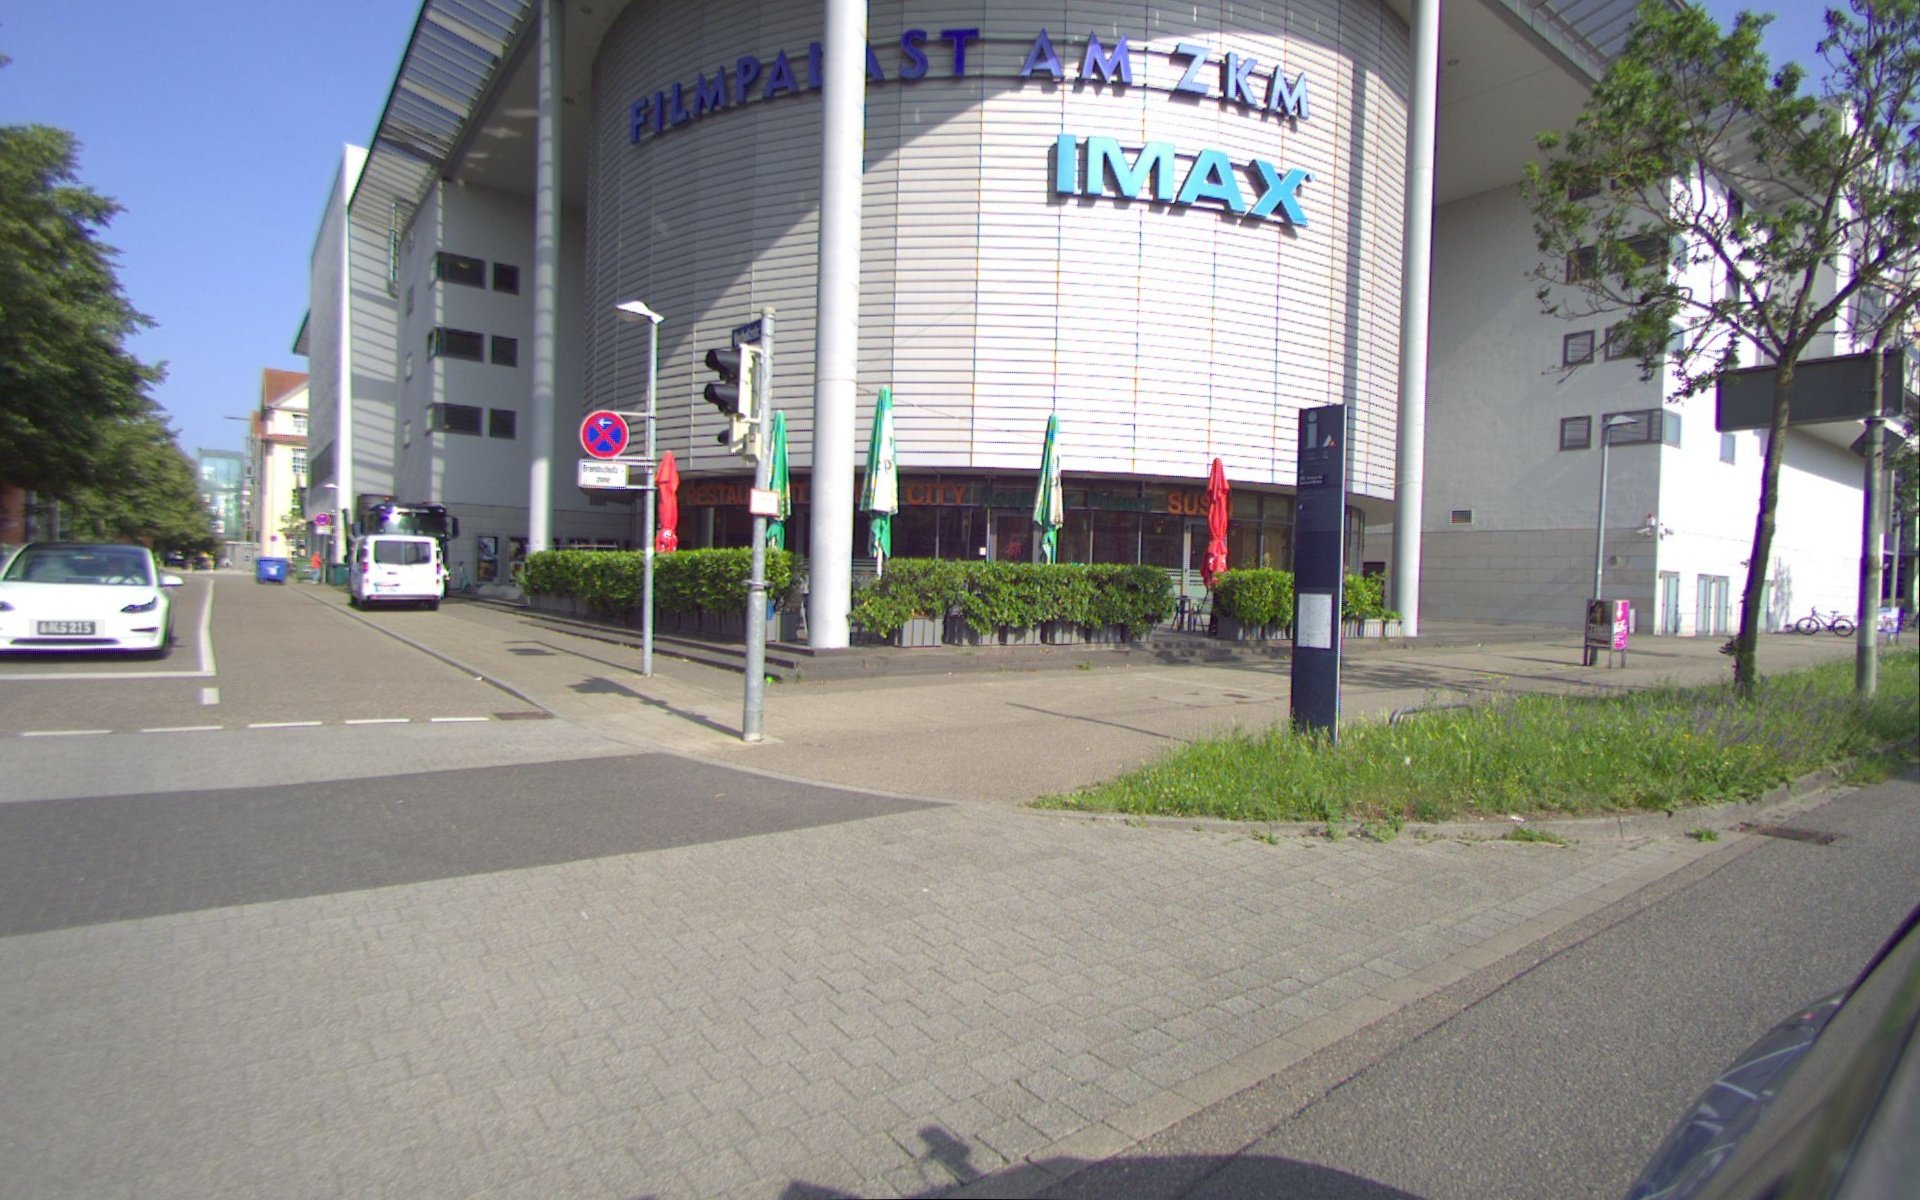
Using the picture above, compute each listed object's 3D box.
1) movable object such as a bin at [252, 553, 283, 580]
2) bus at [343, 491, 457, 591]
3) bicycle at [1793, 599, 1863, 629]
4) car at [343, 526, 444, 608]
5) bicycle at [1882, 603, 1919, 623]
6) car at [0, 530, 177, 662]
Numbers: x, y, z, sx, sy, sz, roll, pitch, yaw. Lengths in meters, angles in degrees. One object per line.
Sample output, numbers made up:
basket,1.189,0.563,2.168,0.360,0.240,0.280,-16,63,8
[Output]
movable object such as a bin,-33.161,-1.605,48.480,1.183,1.265,2.214,1,2,-34
bus,-20.186,-2.015,36.231,2.442,3.187,7.842,0,2,-37
bicycle,34.460,0.536,40.209,0.662,1.116,2.017,1,1,-32
car,-15.586,-0.897,27.704,2.030,2.038,4.899,0,2,-34
bicycle,45.802,0.631,48.978,0.473,0.926,1.662,1,1,-36
car,-11.652,-0.118,13.448,1.866,1.483,4.334,1,1,-37
